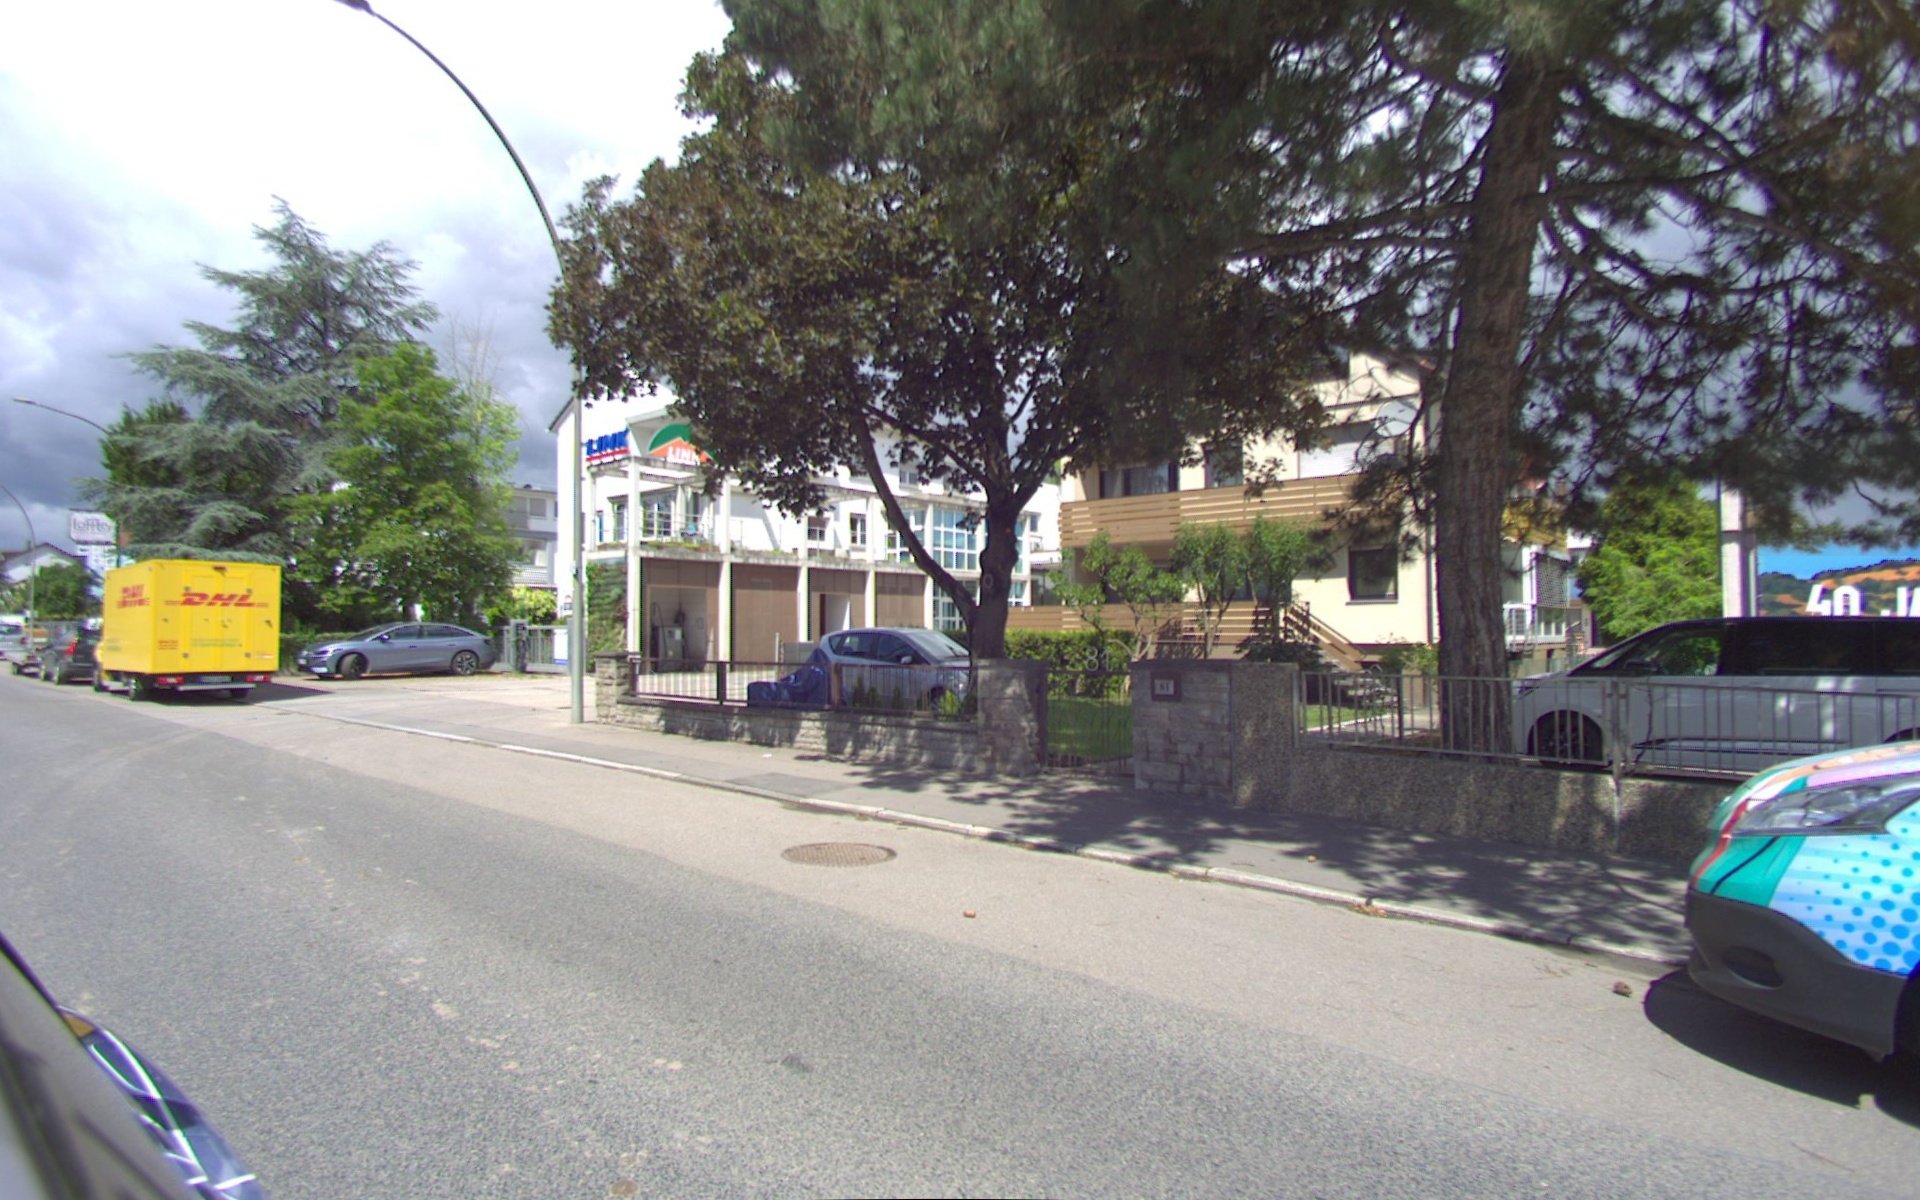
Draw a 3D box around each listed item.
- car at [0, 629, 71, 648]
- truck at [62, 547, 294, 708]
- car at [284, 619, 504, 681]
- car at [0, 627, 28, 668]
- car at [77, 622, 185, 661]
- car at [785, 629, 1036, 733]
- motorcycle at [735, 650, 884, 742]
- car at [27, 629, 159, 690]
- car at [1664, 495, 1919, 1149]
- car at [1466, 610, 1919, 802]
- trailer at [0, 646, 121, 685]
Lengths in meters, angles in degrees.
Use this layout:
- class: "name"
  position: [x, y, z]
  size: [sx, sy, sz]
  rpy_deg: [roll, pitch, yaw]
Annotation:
- class: "car"
  position: [-72.165, 3.015, 78.971]
  size: [1.674, 1.505, 3.994]
  rpy_deg: [-1, -3, 40]
- class: "truck"
  position: [-17.479, 0.648, 22.388]
  size: [7.812, 3.026, 2.300]
  rpy_deg: [-1, -5, 40]
- class: "car"
  position: [-15.585, 1.329, 28.126]
  size: [1.971, 1.563, 4.957]
  rpy_deg: [-1, -2, 39]
- class: "car"
  position: [-41.462, 2.003, 43.361]
  size: [4.126, 1.689, 1.785]
  rpy_deg: [-2, -4, 42]
- class: "car"
  position: [-42.011, 2.111, 51.328]
  size: [1.999, 1.891, 3.945]
  rpy_deg: [-2, -3, 41]
- class: "car"
  position: [-0.894, 1.266, 17.052]
  size: [4.081, 1.555, 1.750]
  rpy_deg: [-1, -3, 38]
- class: "motorcycle"
  position: [-2.064, 1.285, 13.953]
  size: [1.844, 1.174, 0.827]
  rpy_deg: [1, -2, -32]
- class: "car"
  position: [-23.414, 1.582, 27.266]
  size: [4.810, 1.464, 1.972]
  rpy_deg: [-1, -6, 42]
- class: "car"
  position: [4.751, 0.637, 2.371]
  size: [4.893, 1.868, 1.814]
  rpy_deg: [-3, -6, 41]
- class: "car"
  position: [8.941, 1.080, 11.385]
  size: [5.476, 1.845, 2.058]
  rpy_deg: [-1, -3, 41]
- class: "trailer"
  position: [-28.224, 1.977, 31.342]
  size: [7.456, 0.998, 2.294]
  rpy_deg: [-2, -4, 42]
